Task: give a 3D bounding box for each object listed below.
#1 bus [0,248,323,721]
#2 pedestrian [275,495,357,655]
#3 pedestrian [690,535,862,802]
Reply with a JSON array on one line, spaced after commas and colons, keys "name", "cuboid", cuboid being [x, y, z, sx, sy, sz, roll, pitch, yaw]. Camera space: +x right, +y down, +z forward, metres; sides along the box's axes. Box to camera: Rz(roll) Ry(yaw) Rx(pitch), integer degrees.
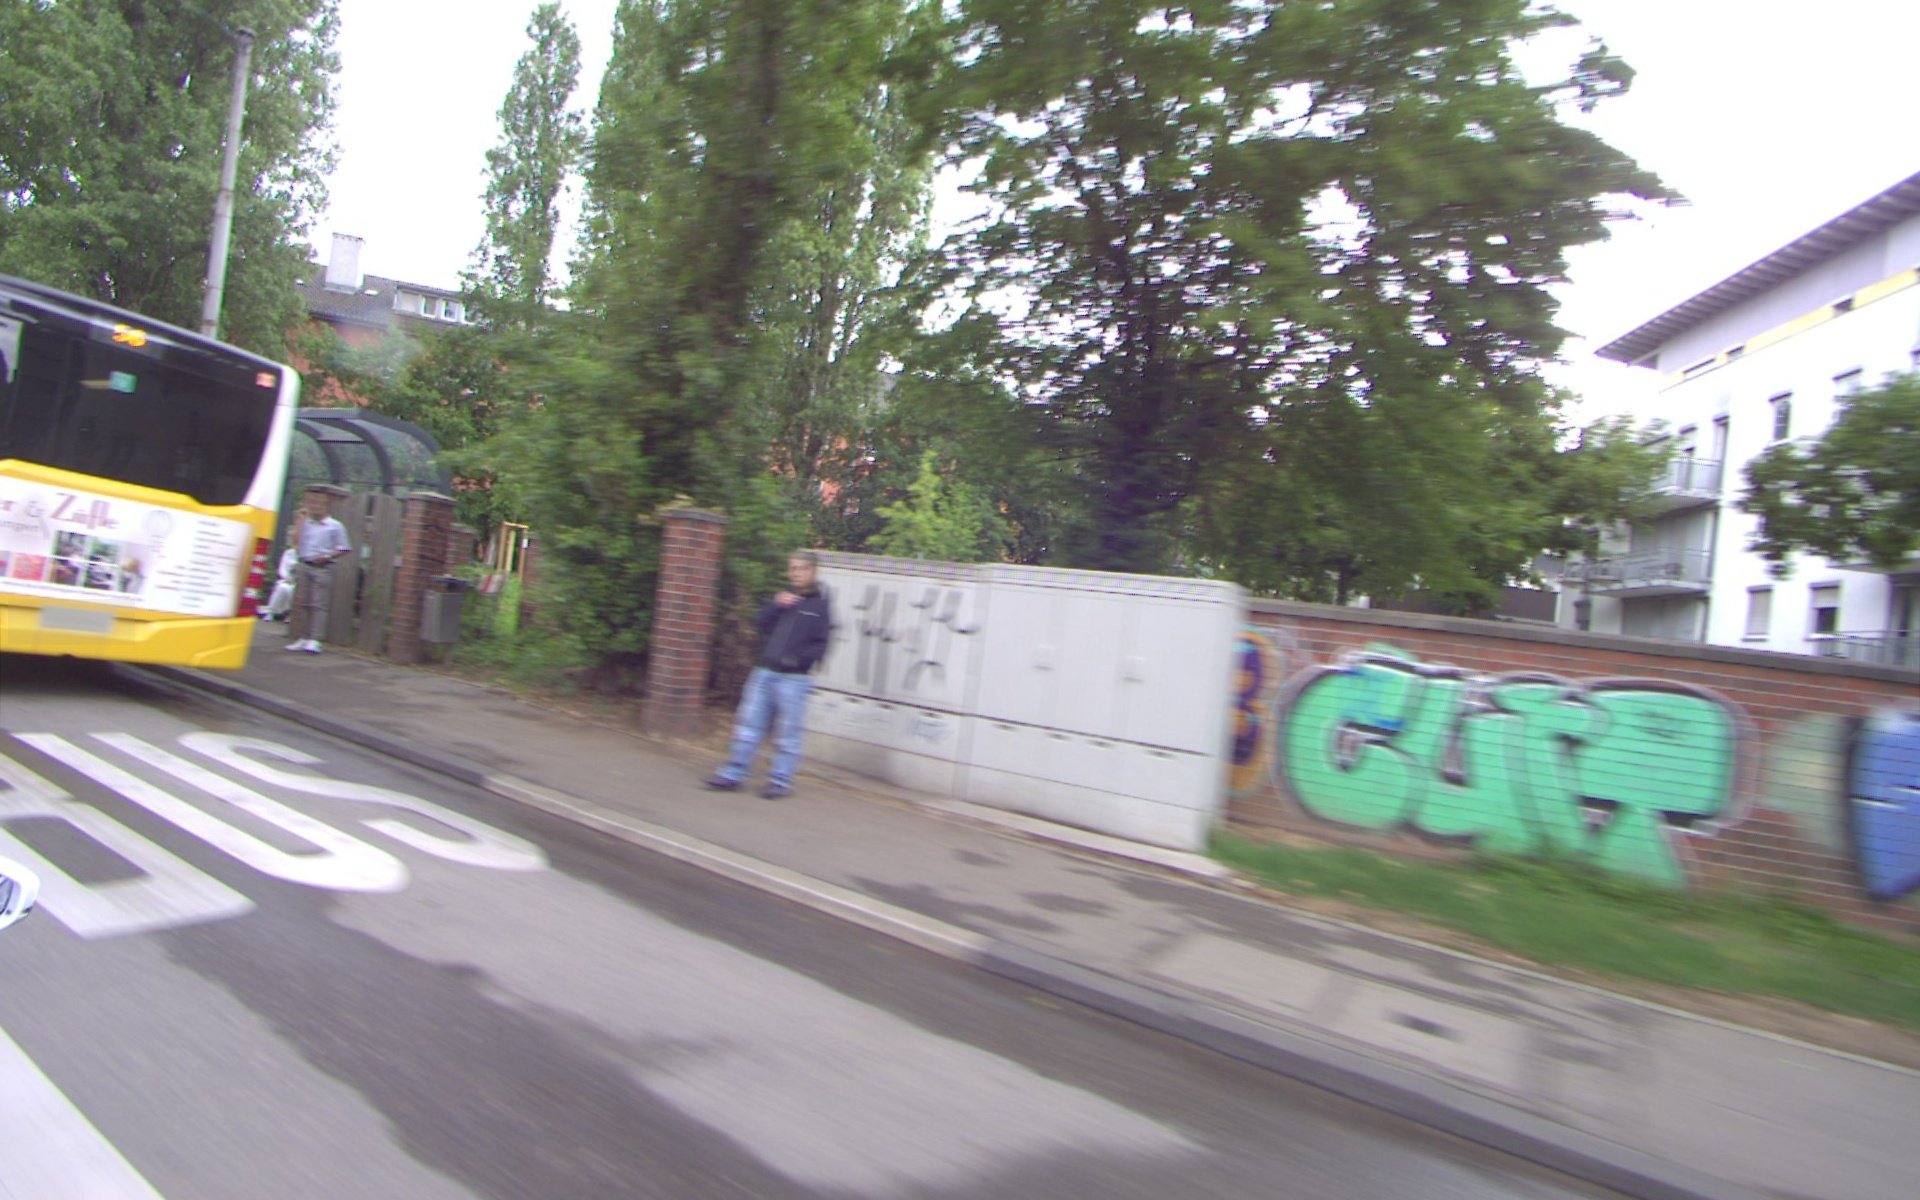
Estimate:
[{"name": "bus", "cuboid": [-10.508, -1.205, 10.161, 9.877, 3.169, 2.669, 7, -4, 33]}, {"name": "pedestrian", "cuboid": [-7.567, -0.294, 11.822, 0.661, 1.802, 0.450, 7, 2, 32]}, {"name": "pedestrian", "cuboid": [-1.340, 0.487, 7.353, 0.808, 1.798, 0.583, 6, -3, 32]}]
